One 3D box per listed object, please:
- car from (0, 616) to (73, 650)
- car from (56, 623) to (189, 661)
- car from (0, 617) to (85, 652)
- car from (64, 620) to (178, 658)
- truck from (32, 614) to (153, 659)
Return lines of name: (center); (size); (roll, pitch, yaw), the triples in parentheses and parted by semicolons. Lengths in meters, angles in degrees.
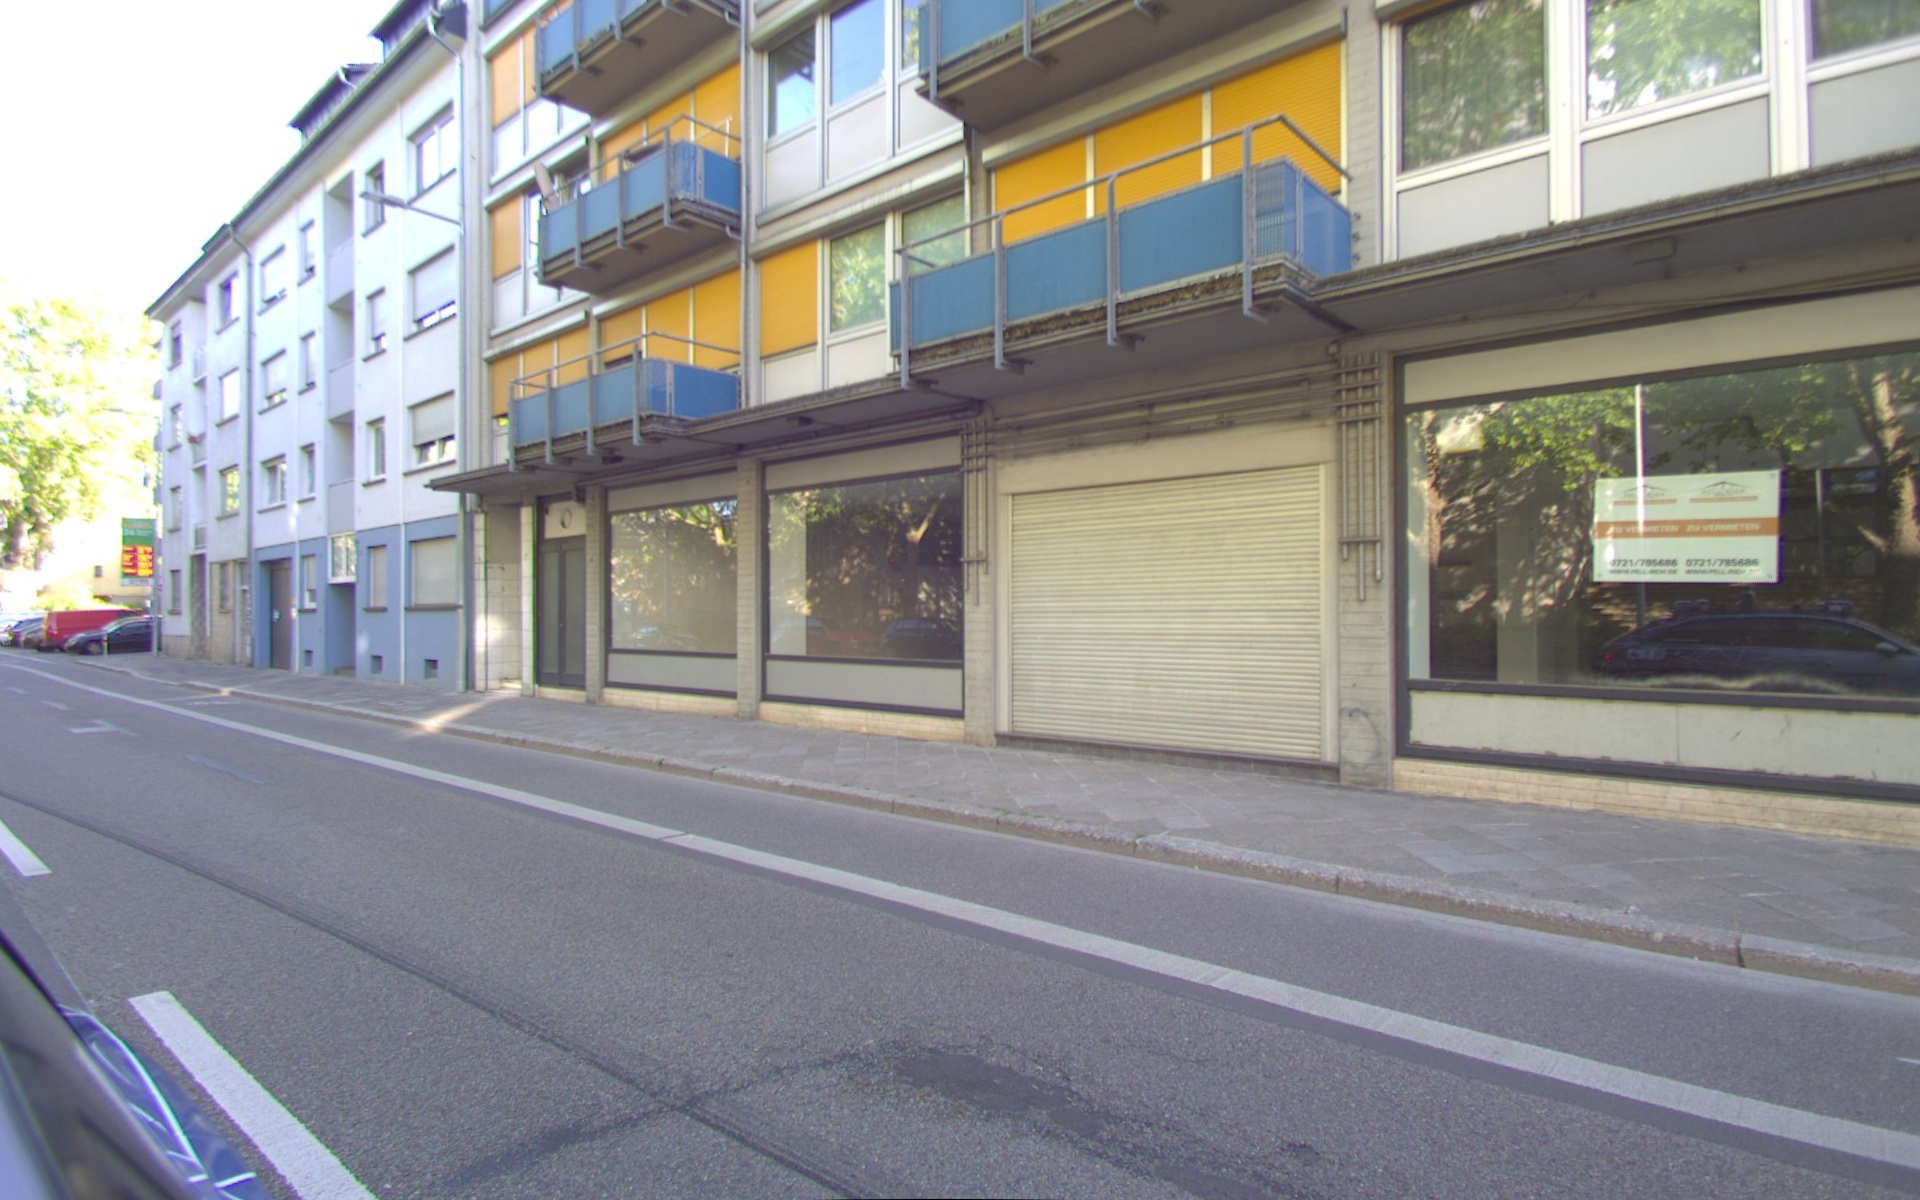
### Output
car: (-59.333, 2.094, 64.394); (2.000, 2.052, 4.180); (-1, 0, 43)
car: (-36.485, 1.794, 44.151); (1.657, 1.417, 4.269); (-1, 0, 40)
car: (-56.049, 2.065, 61.464); (2.000, 1.971, 4.180); (-1, 0, 43)
car: (-38.035, 1.730, 45.934); (1.657, 1.583, 3.762); (-1, 0, 41)
truck: (-40.710, 1.648, 47.564); (1.999, 1.939, 4.040); (-1, 0, 40)
